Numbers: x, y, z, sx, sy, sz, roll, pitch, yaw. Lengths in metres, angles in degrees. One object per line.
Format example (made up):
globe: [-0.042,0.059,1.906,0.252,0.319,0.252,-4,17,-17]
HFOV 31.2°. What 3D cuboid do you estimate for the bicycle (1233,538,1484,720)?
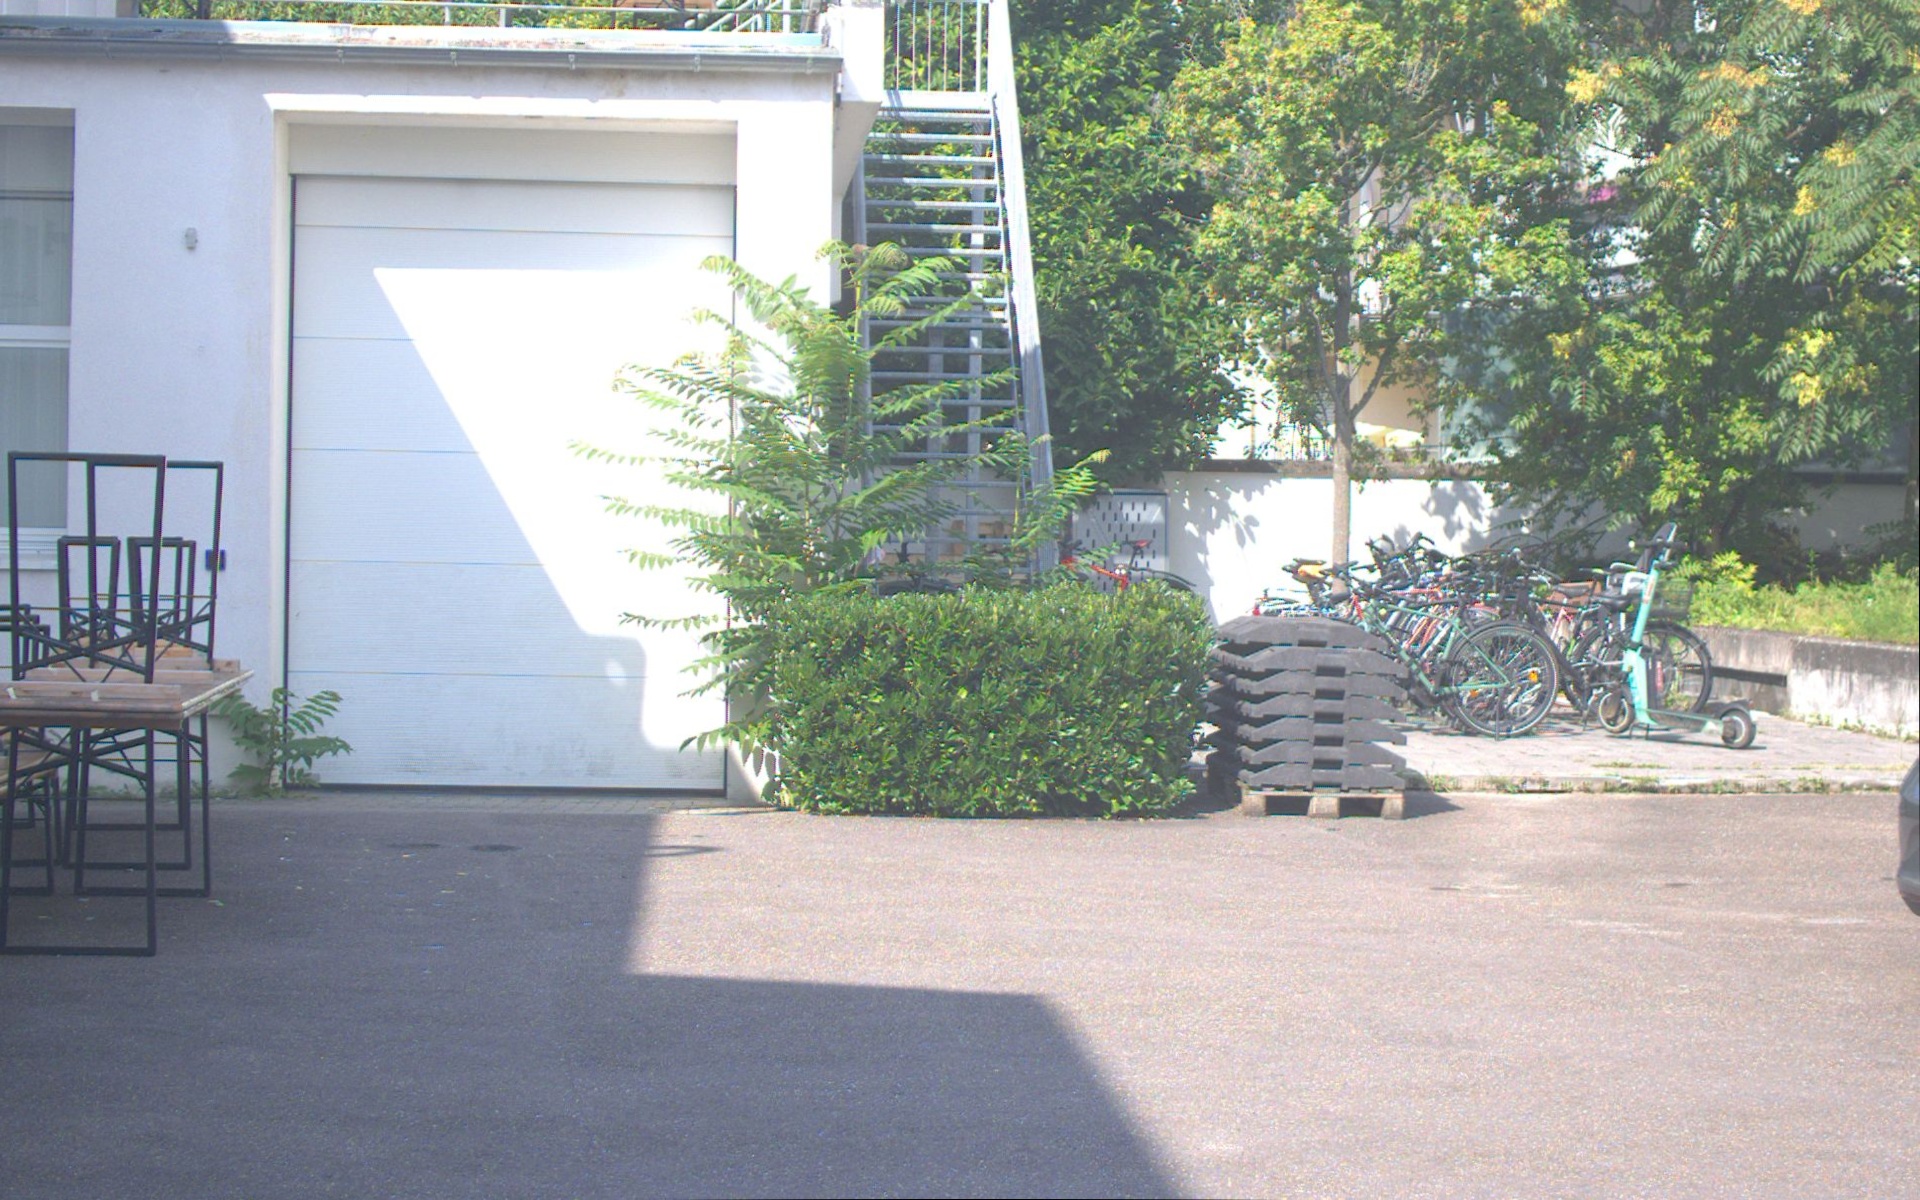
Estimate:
bicycle: [2.676,0.189,23.134,1.623,1.210,0.424,0,1,-4]

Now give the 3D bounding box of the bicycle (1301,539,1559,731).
bicycle: [3.013,0.216,22.111,1.623,1.210,0.327,0,1,6]

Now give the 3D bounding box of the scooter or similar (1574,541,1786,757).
scooter or similar: [4.359,0.278,20.880,0.378,1.256,1.349,-1,2,-36]

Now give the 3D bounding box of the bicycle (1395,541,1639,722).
bicycle: [3.802,0.208,23.499,1.623,1.210,0.424,0,1,9]

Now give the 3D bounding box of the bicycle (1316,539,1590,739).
bicycle: [3.013,0.237,21.043,1.623,1.210,0.327,0,1,-2]

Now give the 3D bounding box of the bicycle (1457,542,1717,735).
bicycle: [4.021,0.241,22.073,1.624,1.210,0.327,0,1,11]

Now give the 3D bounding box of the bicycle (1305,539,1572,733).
bicycle: [3.008,0.225,21.659,1.623,1.210,0.327,0,1,-2]

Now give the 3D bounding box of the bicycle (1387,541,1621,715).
bicycle: [3.875,0.190,24.531,1.623,1.210,0.424,0,1,9]

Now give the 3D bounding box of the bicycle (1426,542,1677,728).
bicycle: [3.940,0.223,22.930,1.623,1.210,0.424,0,1,9]

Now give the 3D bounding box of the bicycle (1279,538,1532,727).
bicycle: [2.910,0.207,22.470,1.623,1.210,0.327,0,1,9]

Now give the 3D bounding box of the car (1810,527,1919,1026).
car: [4.809,0.536,10.443,3.931,1.477,1.775,0,1,-13]

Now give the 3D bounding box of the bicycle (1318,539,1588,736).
bicycle: [3.057,0.232,21.368,1.623,1.210,0.327,0,1,-2]

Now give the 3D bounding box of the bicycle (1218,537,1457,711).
bicycle: [2.670,0.165,24.372,1.622,1.210,0.424,0,1,-8]

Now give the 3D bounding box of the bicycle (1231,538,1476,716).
bicycle: [2.716,0.178,23.772,1.622,1.210,0.424,0,1,-9]
